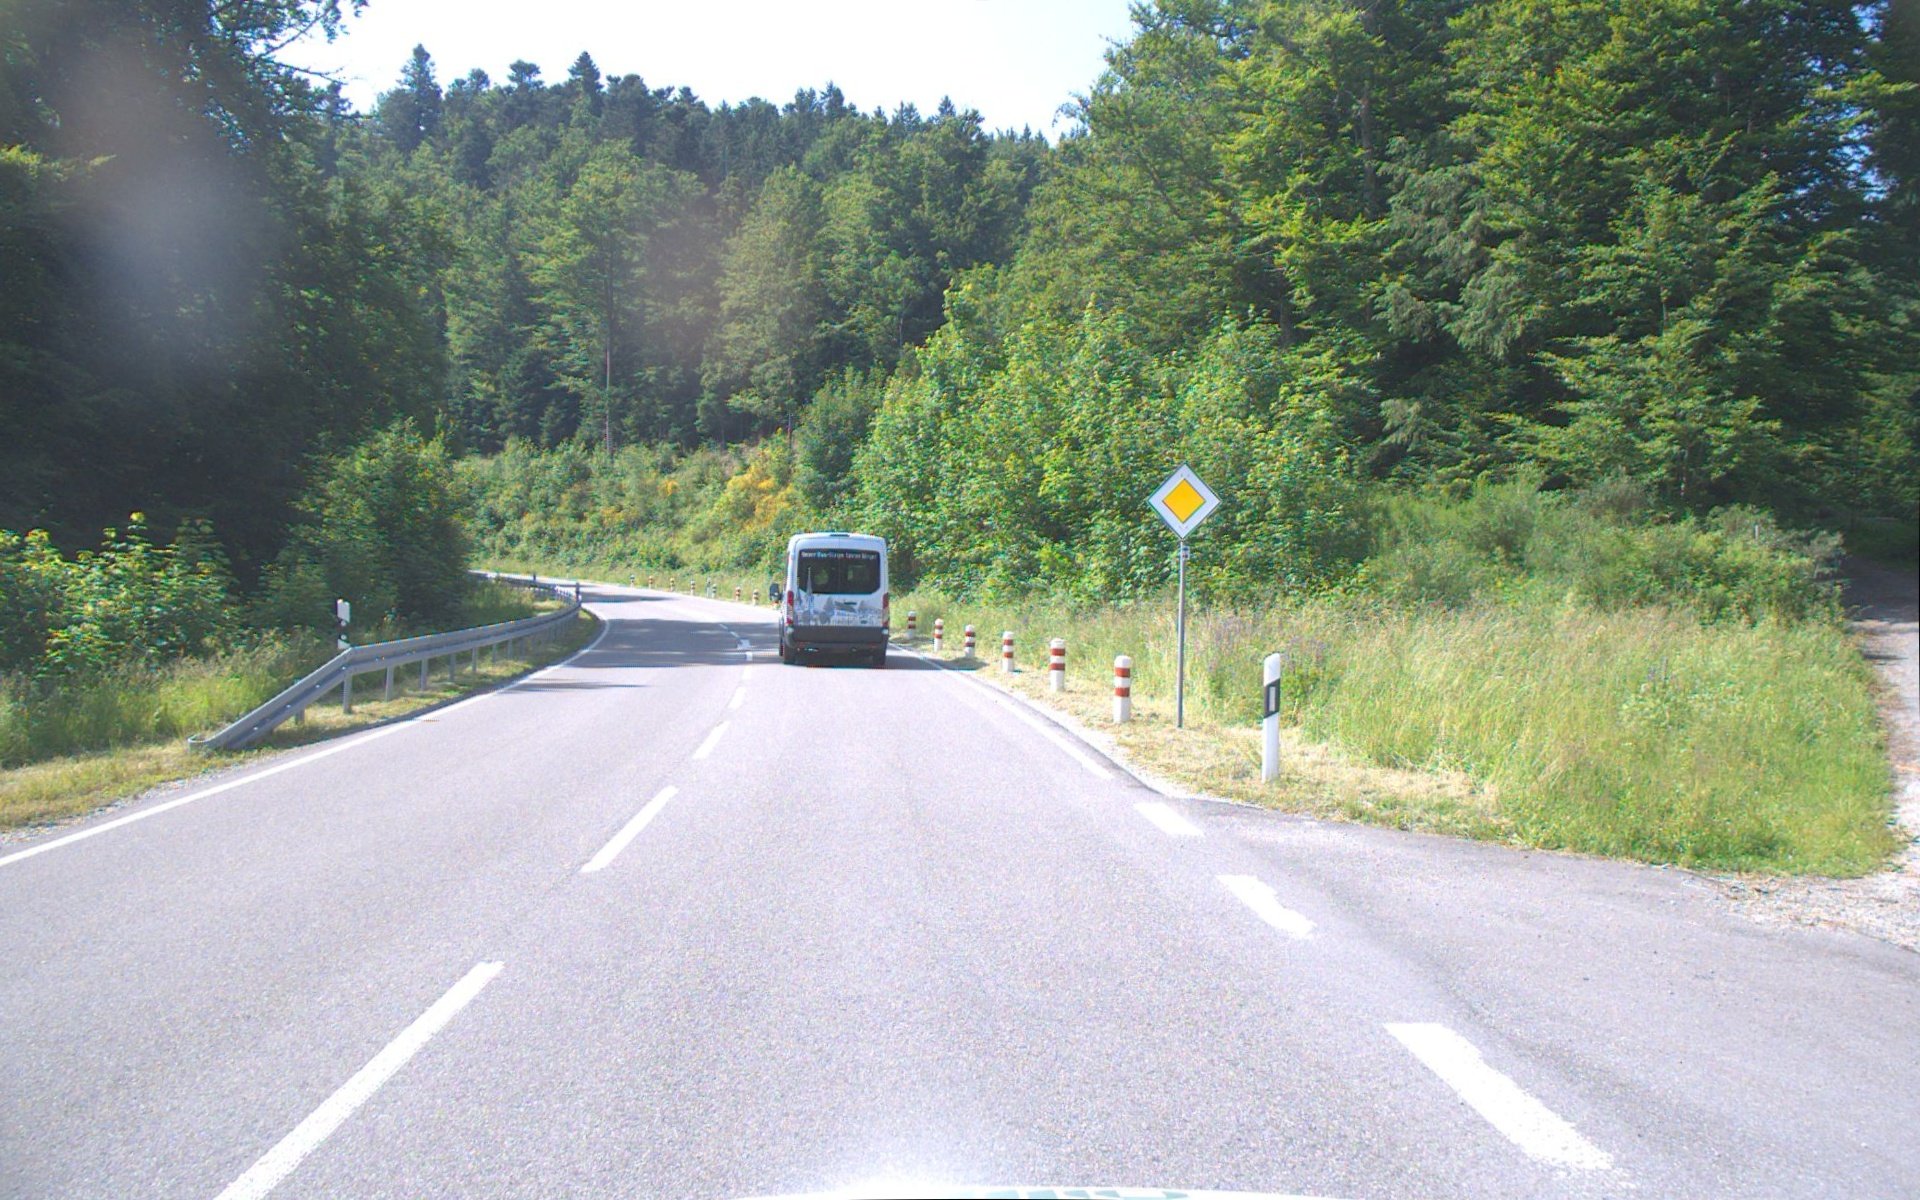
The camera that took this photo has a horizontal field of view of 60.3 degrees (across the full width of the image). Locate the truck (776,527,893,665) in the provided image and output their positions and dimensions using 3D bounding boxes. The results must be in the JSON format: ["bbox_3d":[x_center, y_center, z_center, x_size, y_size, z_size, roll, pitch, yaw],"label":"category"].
[{"bbox_3d":[-2.606,-0.121,33.186,2.075,2.542,5.351,0,1,-7],"label":"truck"}]
